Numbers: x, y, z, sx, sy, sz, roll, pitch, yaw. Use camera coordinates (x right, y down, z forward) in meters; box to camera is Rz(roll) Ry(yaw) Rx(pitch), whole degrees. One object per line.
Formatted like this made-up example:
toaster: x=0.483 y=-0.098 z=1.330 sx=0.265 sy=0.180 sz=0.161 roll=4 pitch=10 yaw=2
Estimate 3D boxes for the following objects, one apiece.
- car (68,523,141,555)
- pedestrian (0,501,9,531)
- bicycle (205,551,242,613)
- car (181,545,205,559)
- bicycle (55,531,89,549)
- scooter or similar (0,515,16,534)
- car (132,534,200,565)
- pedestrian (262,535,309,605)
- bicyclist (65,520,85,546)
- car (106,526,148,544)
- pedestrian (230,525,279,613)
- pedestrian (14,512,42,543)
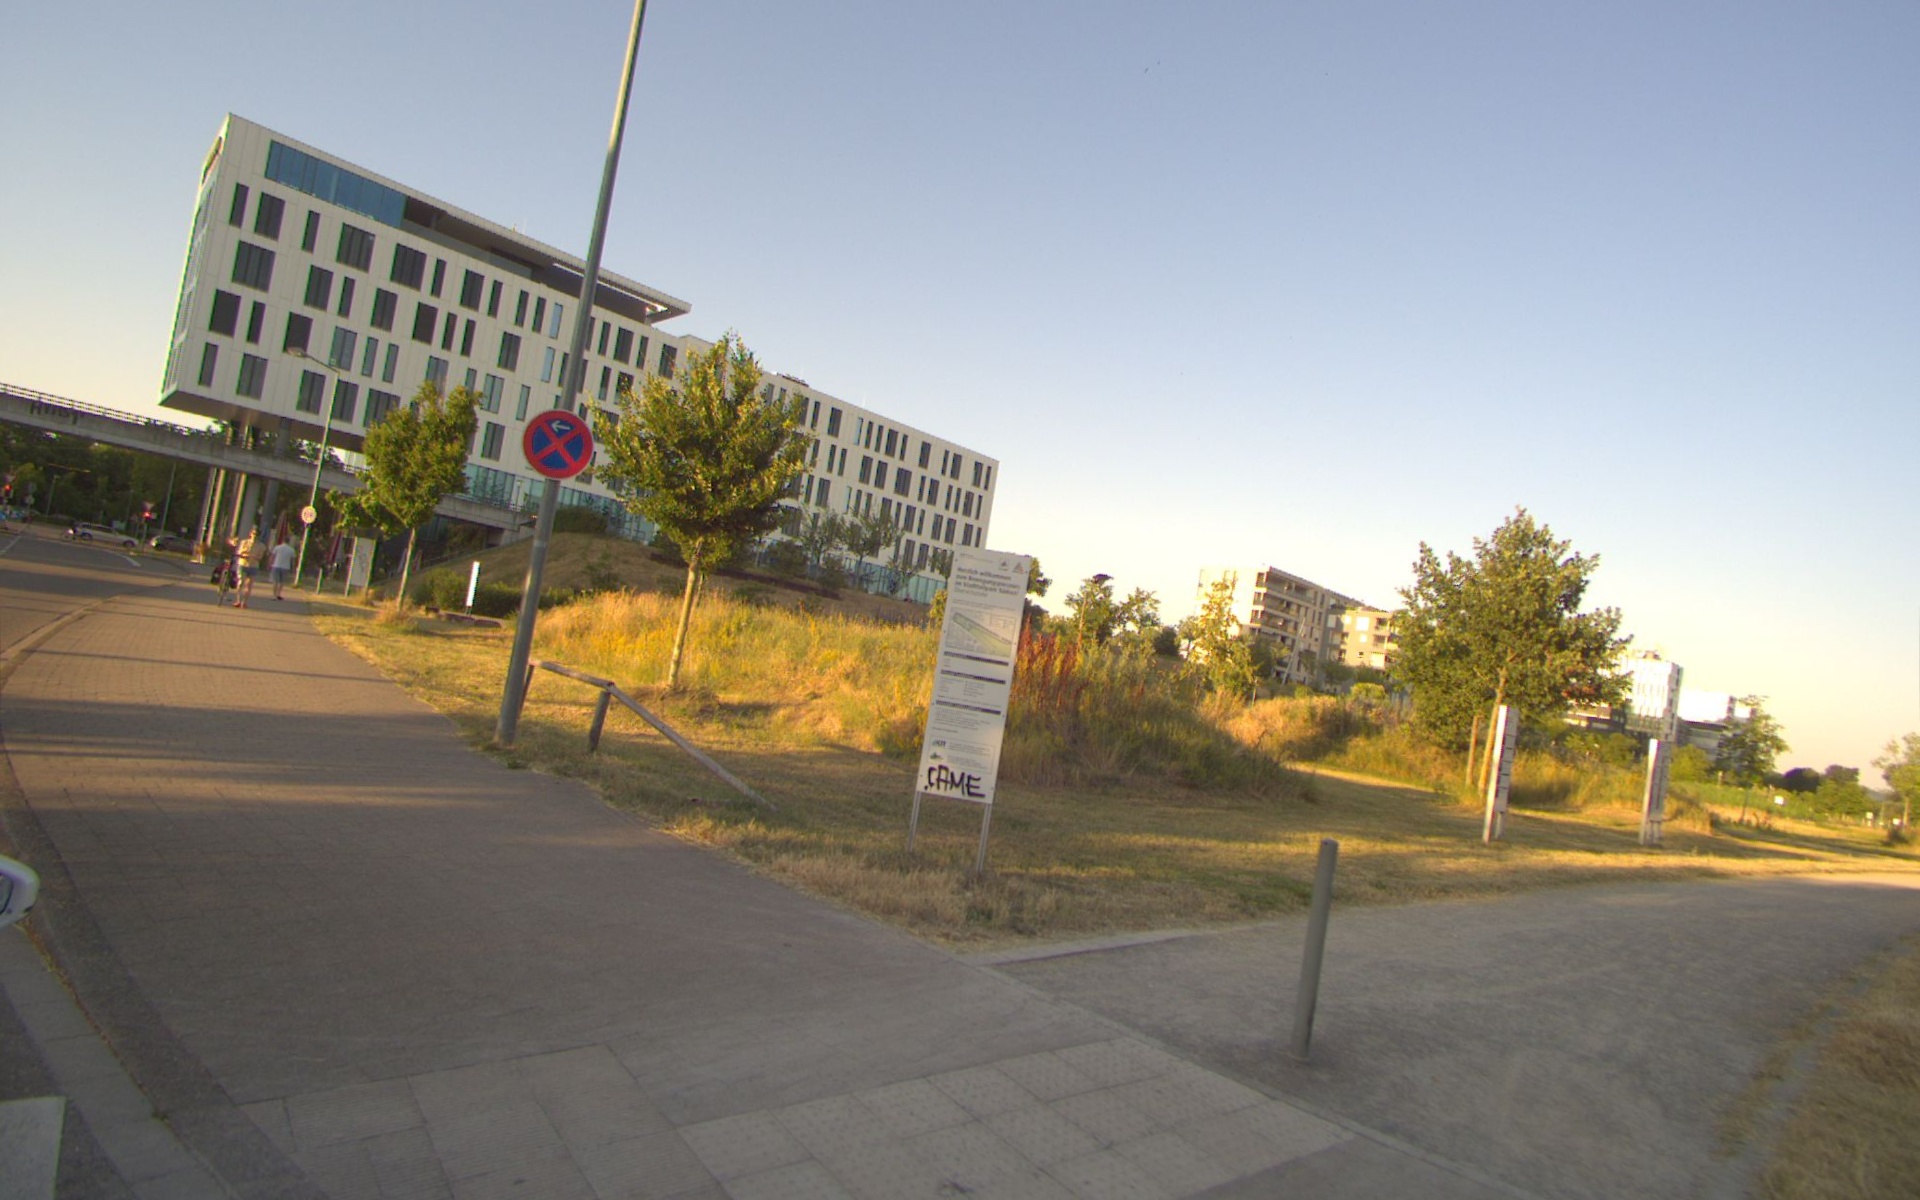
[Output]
car: x=-71.082 y=-5.054 z=83.625 sx=4.409 sy=1.742 sz=1.812 roll=13 pitch=-4 yaw=-44
pedestrian: x=-67.473 y=-5.950 z=70.487 sx=0.760 sy=2.012 sz=0.909 roll=8 pitch=-3 yaw=40
bicycle: x=-15.838 y=-0.413 z=21.662 sx=0.448 sy=1.181 sz=1.922 roll=11 pitch=-3 yaw=-36
car: x=-112.629 y=-7.099 z=147.783 sx=1.480 sy=1.623 sz=3.394 roll=11 pitch=-3 yaw=-15
bicycle: x=-64.739 y=-4.379 z=73.378 sx=0.504 sy=0.958 sz=1.695 roll=8 pitch=-4 yaw=40
scooter or similar: x=-67.550 y=-5.418 z=70.476 sx=0.753 sy=1.186 sz=1.862 roll=8 pitch=-3 yaw=39
car: x=-69.976 y=-4.419 z=88.663 sx=4.405 sy=1.818 sz=1.813 roll=13 pitch=-4 yaw=-41
pedestrian: x=-18.794 y=-0.850 z=28.035 sx=0.828 sy=1.785 sz=0.810 roll=11 pitch=-2 yaw=-35
bicyclist: x=-64.612 y=-4.873 z=73.444 sx=0.505 sy=1.723 sz=0.766 roll=8 pitch=-3 yaw=40
car: x=-130.269 y=-10.148 z=157.387 sx=4.666 sy=1.888 sz=1.993 roll=13 pitch=-3 yaw=-36
pedestrian: x=-15.437 y=-0.686 z=22.036 sx=0.592 sy=1.821 sz=0.810 roll=11 pitch=-2 yaw=-35
pedestrian: x=-64.676 y=-5.024 z=69.808 sx=0.881 sy=1.853 sz=1.056 roll=8 pitch=-2 yaw=35
